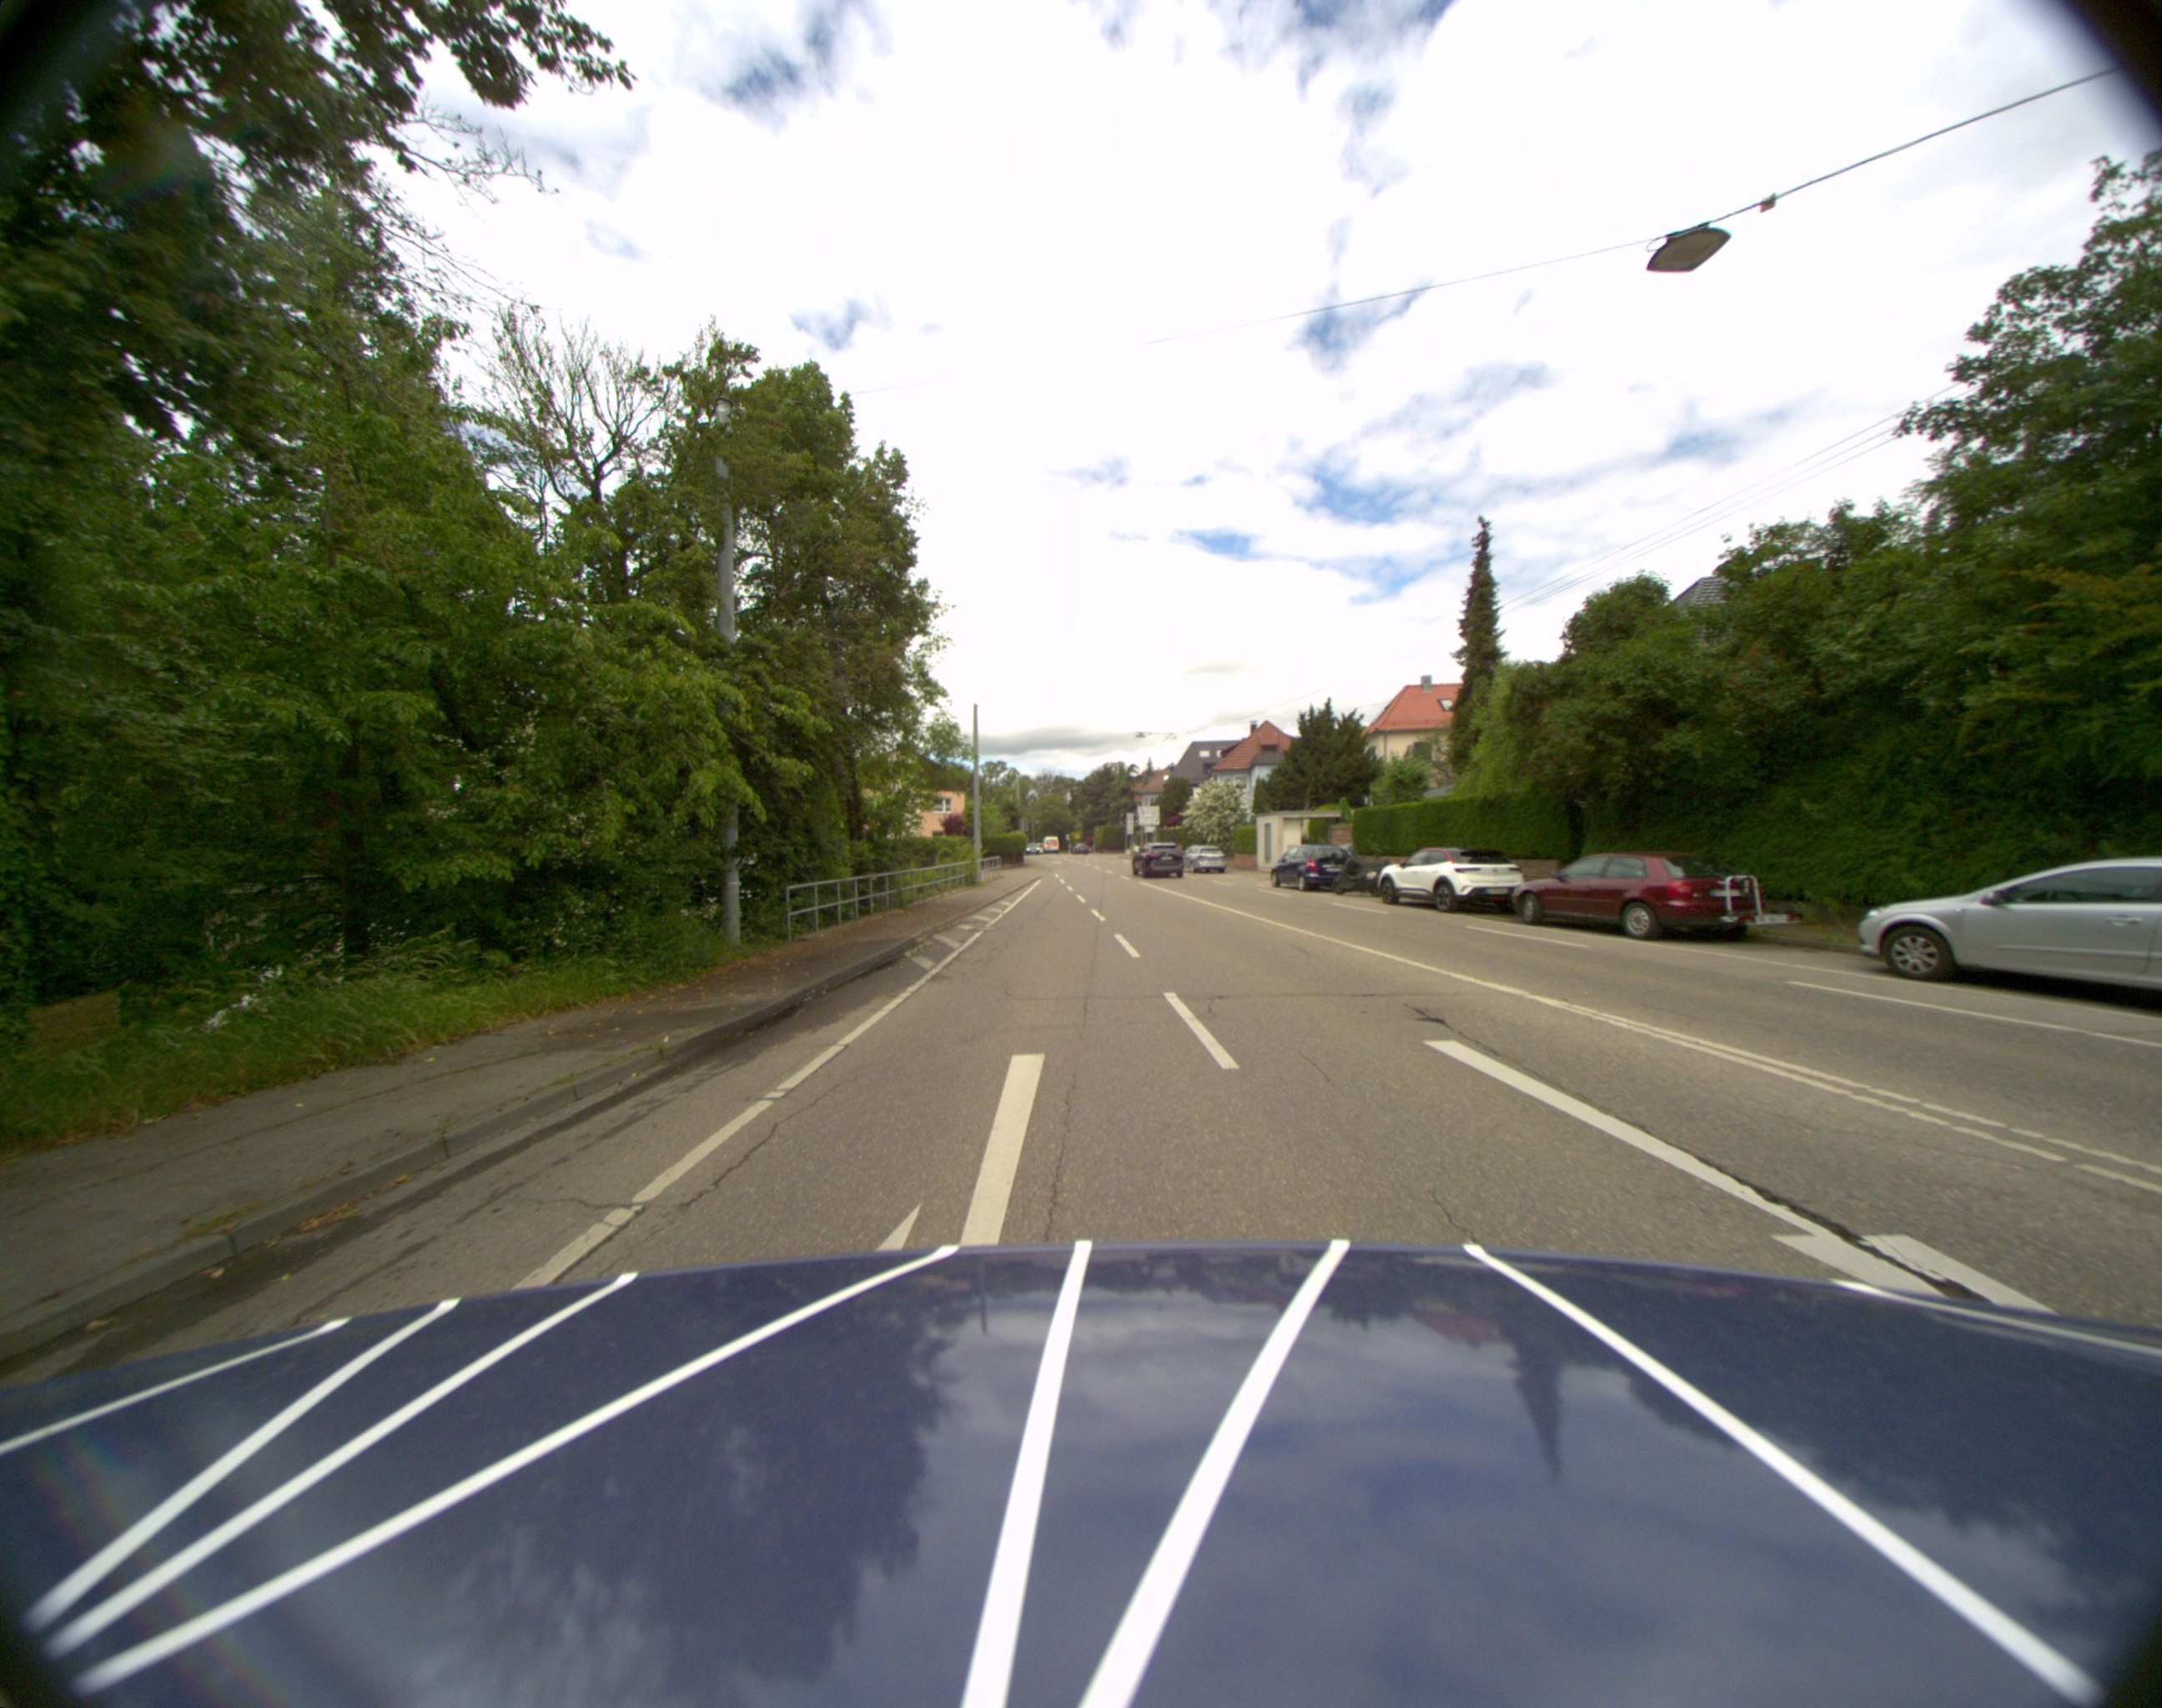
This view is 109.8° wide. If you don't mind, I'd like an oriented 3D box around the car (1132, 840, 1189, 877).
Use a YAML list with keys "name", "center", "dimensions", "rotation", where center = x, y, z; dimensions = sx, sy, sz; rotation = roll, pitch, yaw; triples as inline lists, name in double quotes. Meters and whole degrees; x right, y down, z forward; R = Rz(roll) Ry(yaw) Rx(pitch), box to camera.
- name: "car"
  center: [3.731, 0.157, 36.371]
  dimensions: [1.848, 1.638, 4.209]
  rotation: [-1, 2, -6]

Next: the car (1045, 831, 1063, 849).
- name: "car"
  center: [-4.050, -2.029, 111.639]
  dimensions: [2.118, 2.484, 6.120]
  rotation: [-1, 1, -6]

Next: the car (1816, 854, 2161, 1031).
- name: "car"
  center: [10.156, 0.783, 7.274]
  dimensions: [1.674, 1.480, 4.427]
  rotation: [0, 1, -6]

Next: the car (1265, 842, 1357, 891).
- name: "car"
  center: [8.007, 0.383, 26.812]
  dimensions: [1.684, 1.547, 3.968]
  rotation: [0, 2, -6]

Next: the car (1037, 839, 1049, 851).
- name: "car"
  center: [-6.828, -1.532, 136.498]
  dimensions: [1.864, 2.036, 5.168]
  rotation: [-1, 0, -7]

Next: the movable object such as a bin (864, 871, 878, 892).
- name: "movable object such as a bin"
  center: [-10.943, 1.431, 39.581]
  dimensions: [0.541, 0.969, 0.507]
  rotation: [-5, 6, -26]

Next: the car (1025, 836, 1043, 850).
- name: "car"
  center: [-6.547, -1.451, 105.530]
  dimensions: [1.864, 1.855, 4.607]
  rotation: [-1, 0, -10]

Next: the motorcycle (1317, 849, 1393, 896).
- name: "motorcycle"
  center: [8.347, 0.560, 23.288]
  dimensions: [0.890, 1.347, 2.302]
  rotation: [1, -1, -22]

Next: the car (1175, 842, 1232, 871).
- name: "car"
  center: [6.539, 0.075, 41.054]
  dimensions: [1.815, 1.447, 4.409]
  rotation: [1, 1, -7]

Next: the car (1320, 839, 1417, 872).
- name: "car"
  center: [12.561, 0.049, 33.403]
  dimensions: [3.596, 1.383, 1.849]
  rotation: [-1, 1, 3]

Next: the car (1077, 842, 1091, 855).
- name: "car"
  center: [0.443, -0.759, 96.692]
  dimensions: [1.738, 1.545, 4.446]
  rotation: [-1, 1, 1]

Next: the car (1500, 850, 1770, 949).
- name: "car"
  center: [9.563, 0.680, 13.565]
  dimensions: [1.675, 1.470, 3.908]
  rotation: [0, 1, -7]

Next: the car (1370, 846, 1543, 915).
- name: "car"
  center: [9.019, 0.557, 18.683]
  dimensions: [1.895, 1.486, 4.023]
  rotation: [0, 1, -7]
